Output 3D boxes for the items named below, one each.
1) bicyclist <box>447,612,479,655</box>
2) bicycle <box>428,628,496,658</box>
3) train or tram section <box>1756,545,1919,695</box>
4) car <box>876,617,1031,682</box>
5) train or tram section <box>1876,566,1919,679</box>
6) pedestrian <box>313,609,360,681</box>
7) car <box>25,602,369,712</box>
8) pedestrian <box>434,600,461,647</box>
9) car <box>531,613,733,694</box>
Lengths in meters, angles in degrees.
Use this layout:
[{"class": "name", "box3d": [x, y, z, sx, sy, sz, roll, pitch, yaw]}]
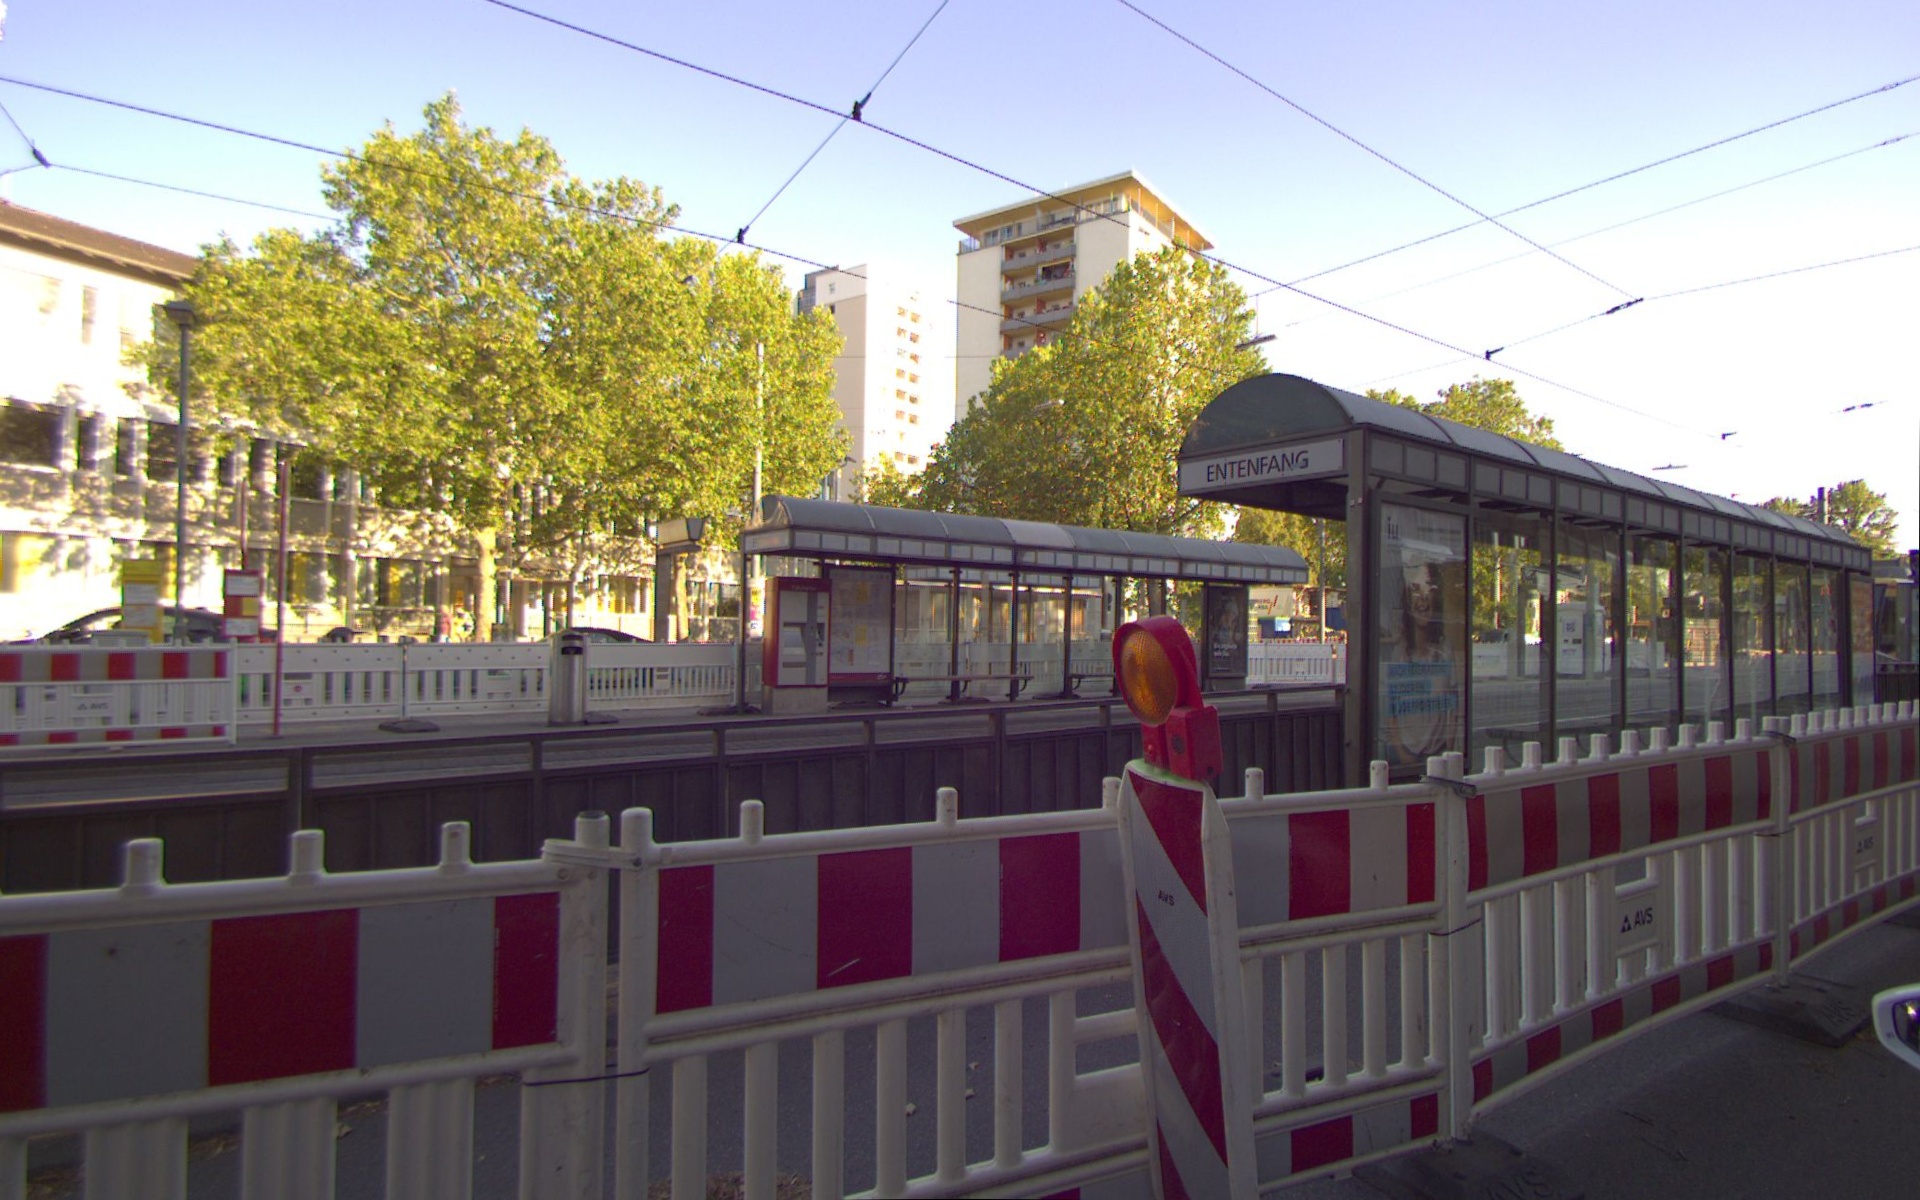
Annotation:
[{"class": "bicyclist", "box3d": [-17.894, 1.208, 36.190, 0.565, 1.547, 0.844, 0, -1, 28]}, {"class": "bicycle", "box3d": [-17.902, 1.533, 36.158, 0.666, 1.045, 2.186, 0, -2, 29]}, {"class": "train or tram section", "box3d": [26.231, 0.613, 28.444, 11.657, 3.580, 2.668, 2, 0, -36]}, {"class": "car", "box3d": [-0.150, 1.352, 28.044, 3.959, 1.683, 1.901, 2, -2, -35]}, {"class": "train or tram section", "box3d": [35.453, 0.877, 35.424, 11.477, 3.606, 2.666, 2, 0, -38]}, {"class": "pedestrian", "box3d": [-16.550, 1.186, 26.659, 0.921, 1.858, 0.691, 2, -2, -43]}, {"class": "car", "box3d": [-12.956, 0.949, 17.469, 4.511, 1.683, 1.982, 2, -2, -34]}, {"class": "pedestrian", "box3d": [-16.050, 0.741, 31.456, 0.582, 1.474, 0.579, 2, -2, -44]}, {"class": "car", "box3d": [-7.351, 1.173, 22.595, 3.958, 1.683, 1.982, 2, -2, -34]}]
